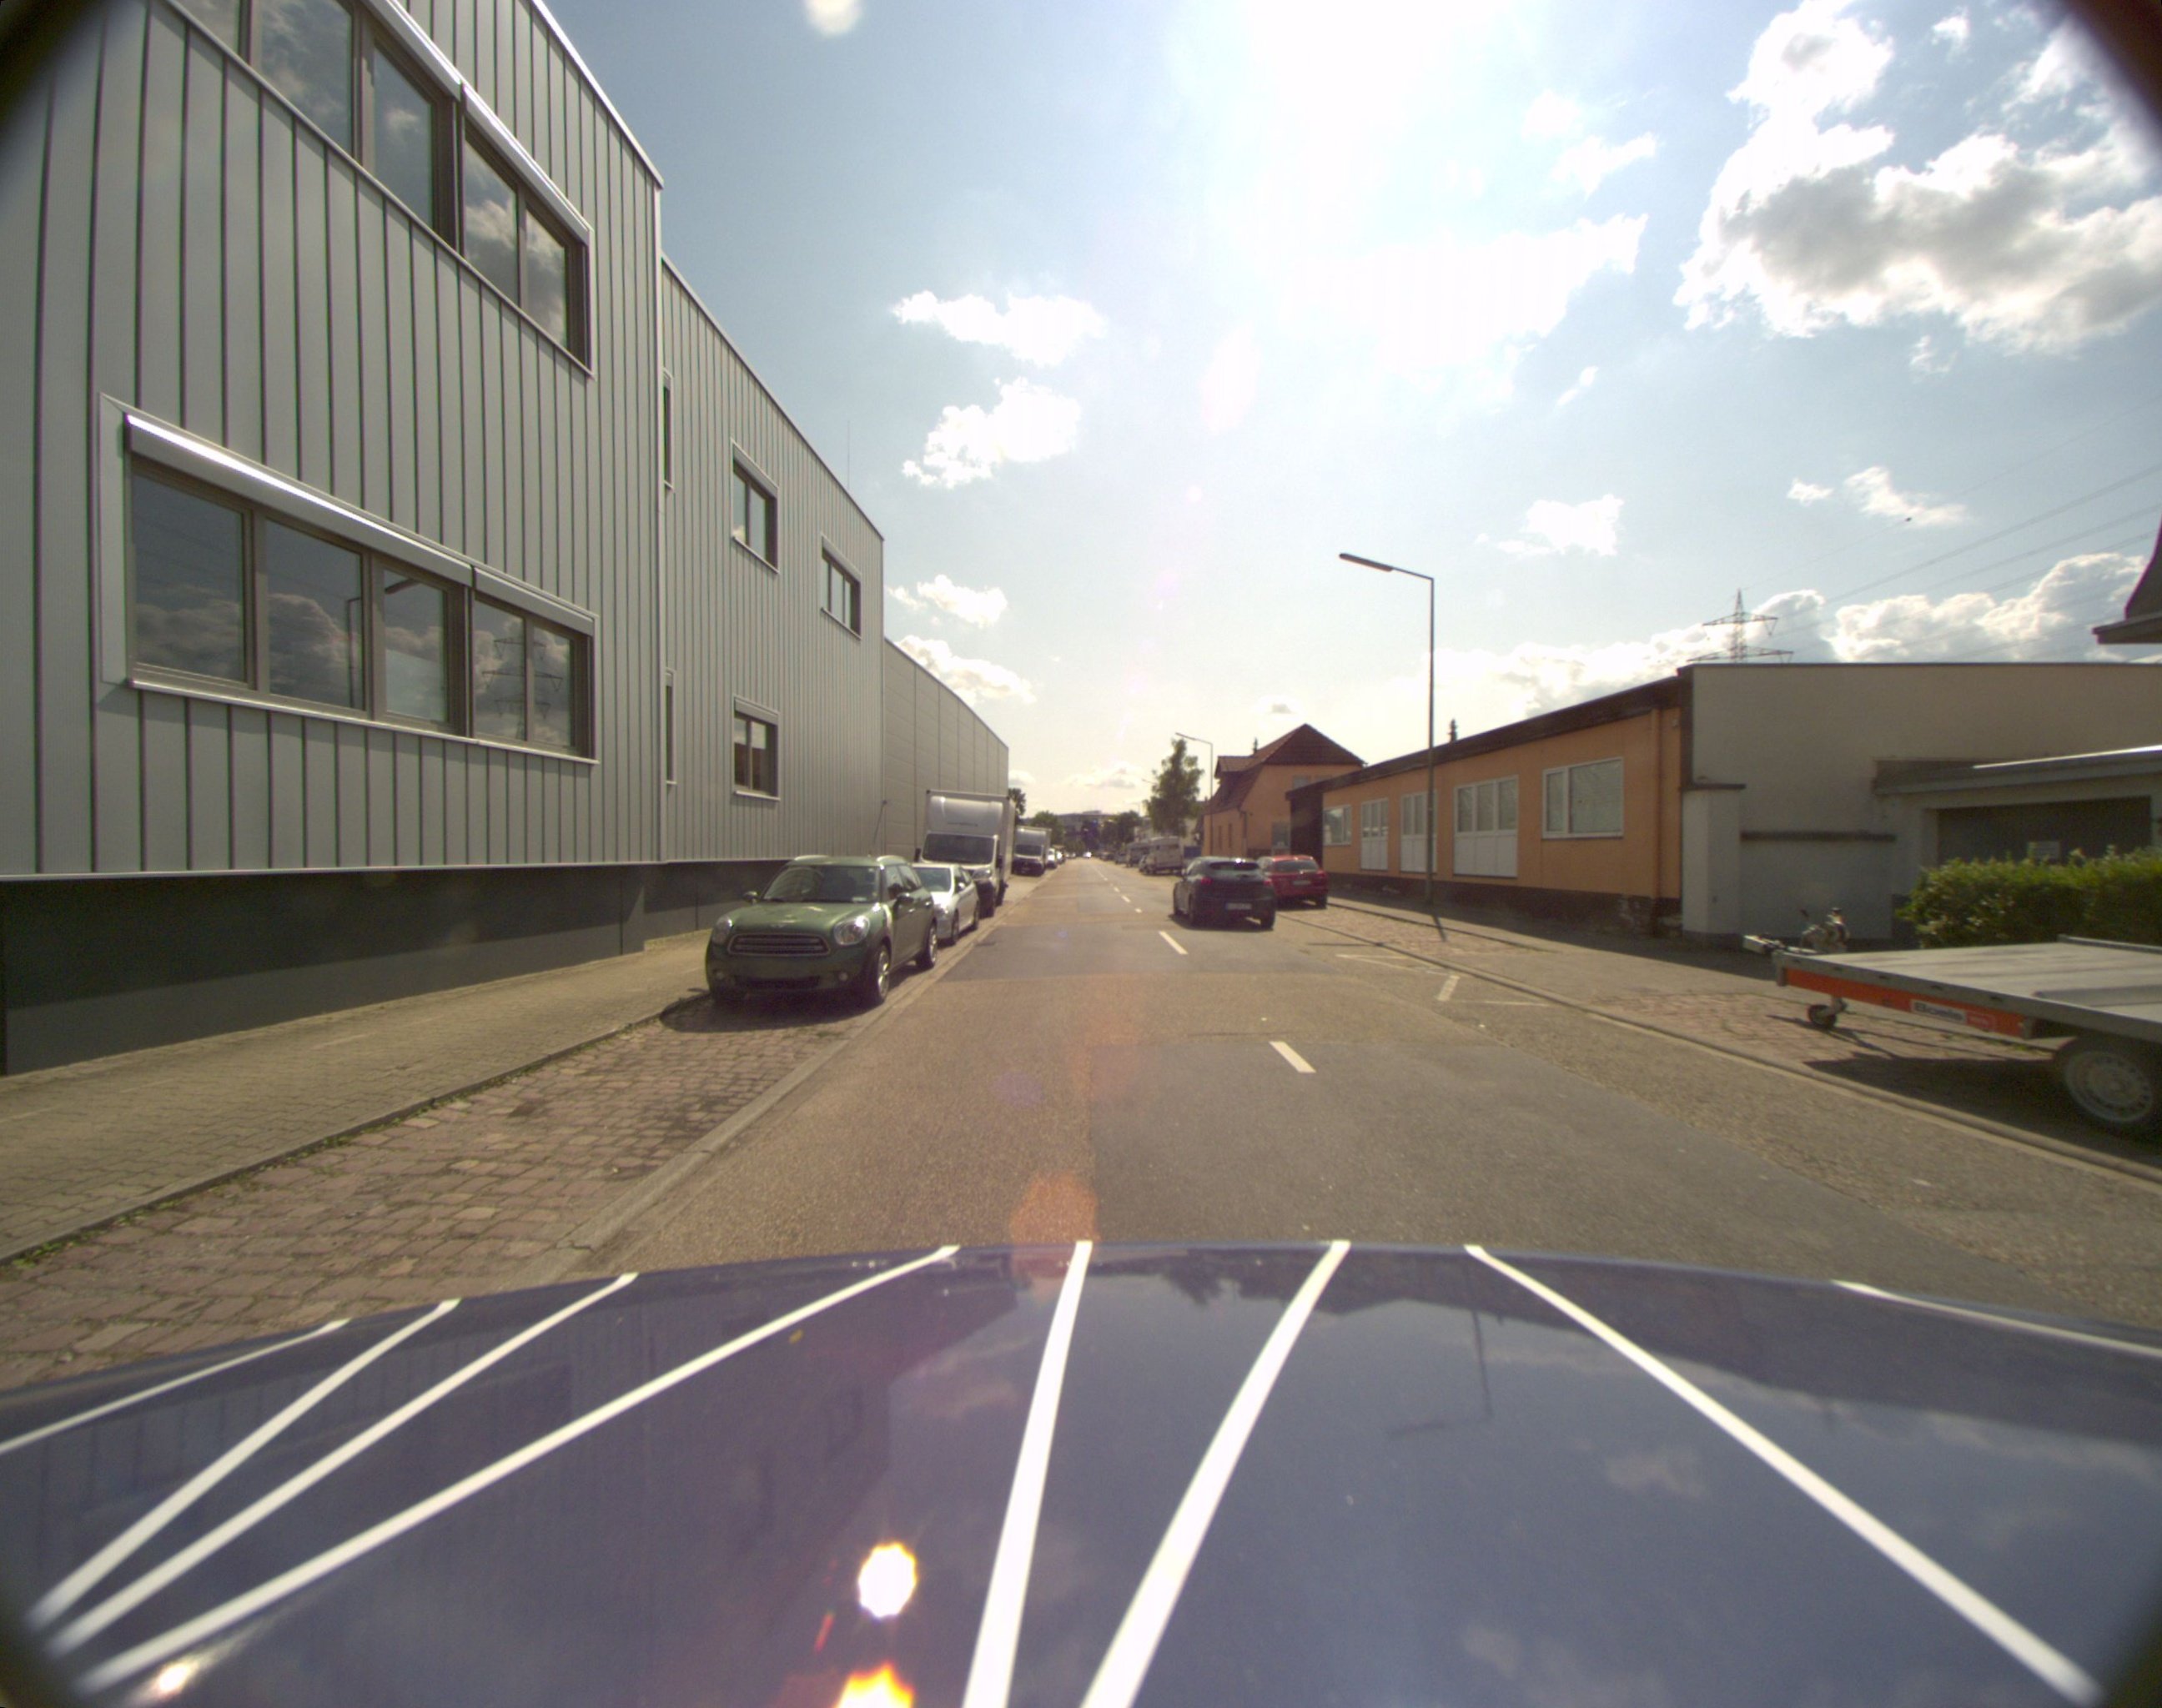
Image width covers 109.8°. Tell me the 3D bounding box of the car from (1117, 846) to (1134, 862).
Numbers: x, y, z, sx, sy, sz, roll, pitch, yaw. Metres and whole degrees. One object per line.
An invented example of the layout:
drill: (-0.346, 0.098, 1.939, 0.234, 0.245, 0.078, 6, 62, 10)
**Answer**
car: (6.035, -0.003, 103.771, 1.998, 2.002, 4.000, -2, 0, 0)

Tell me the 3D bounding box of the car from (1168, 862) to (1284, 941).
car: (3.059, 0.948, 16.798, 1.739, 1.433, 3.999, 2, 0, 0)

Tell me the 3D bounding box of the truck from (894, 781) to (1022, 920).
truck: (-3.214, -0.096, 22.064, 2.607, 3.207, 8.075, -2, 0, -2)

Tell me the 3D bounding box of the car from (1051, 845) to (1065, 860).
car: (-2.927, -0.208, 96.846, 1.658, 1.765, 3.926, -2, 0, 0)

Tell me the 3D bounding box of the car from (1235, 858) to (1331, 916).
car: (5.929, 0.893, 22.802, 1.714, 1.459, 4.630, -2, 0, 1)

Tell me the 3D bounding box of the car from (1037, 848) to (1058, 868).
car: (-3.040, 0.351, 69.930, 1.658, 1.765, 3.926, -2, 0, 0)

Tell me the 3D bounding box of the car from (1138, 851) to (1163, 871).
car: (5.620, 0.531, 61.704, 1.658, 1.482, 3.716, -2, 0, 0)

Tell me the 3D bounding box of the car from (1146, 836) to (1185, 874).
car: (5.983, 0.045, 54.282, 2.079, 2.527, 5.824, -2, 0, 0)

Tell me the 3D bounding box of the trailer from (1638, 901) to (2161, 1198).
trailer: (6.489, 1.065, 4.253, 2.457, 1.157, 6.053, -1, 0, 2)

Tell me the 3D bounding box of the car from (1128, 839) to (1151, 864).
car: (6.169, -0.259, 81.155, 1.998, 2.556, 5.824, -2, 0, 1)

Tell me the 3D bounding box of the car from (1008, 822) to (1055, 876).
car: (-3.325, -0.326, 52.875, 2.418, 3.269, 6.897, 6, 0, 0)

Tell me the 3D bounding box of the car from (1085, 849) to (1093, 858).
car: (2.069, -0.156, 188.931, 1.828, 2.110, 4.109, -2, 0, 0)

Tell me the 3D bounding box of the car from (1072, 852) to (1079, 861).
car: (-1.339, 0.703, 189.071, 1.828, 2.082, 4.109, -2, 0, 0)

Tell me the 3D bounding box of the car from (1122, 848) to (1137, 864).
car: (6.099, 0.244, 96.207, 1.658, 1.860, 3.926, -2, 0, 0)

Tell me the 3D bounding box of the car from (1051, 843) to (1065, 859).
car: (-3.493, -0.415, 115.402, 1.828, 2.365, 4.109, -2, 0, 0)

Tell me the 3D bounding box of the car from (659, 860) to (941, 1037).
car: (-2.929, 0.874, 8.962, 1.714, 1.502, 4.114, -2, 0, 0)

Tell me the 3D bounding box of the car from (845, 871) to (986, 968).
car: (-2.994, 1.137, 14.679, 1.714, 1.425, 4.257, -2, 0, 0)
